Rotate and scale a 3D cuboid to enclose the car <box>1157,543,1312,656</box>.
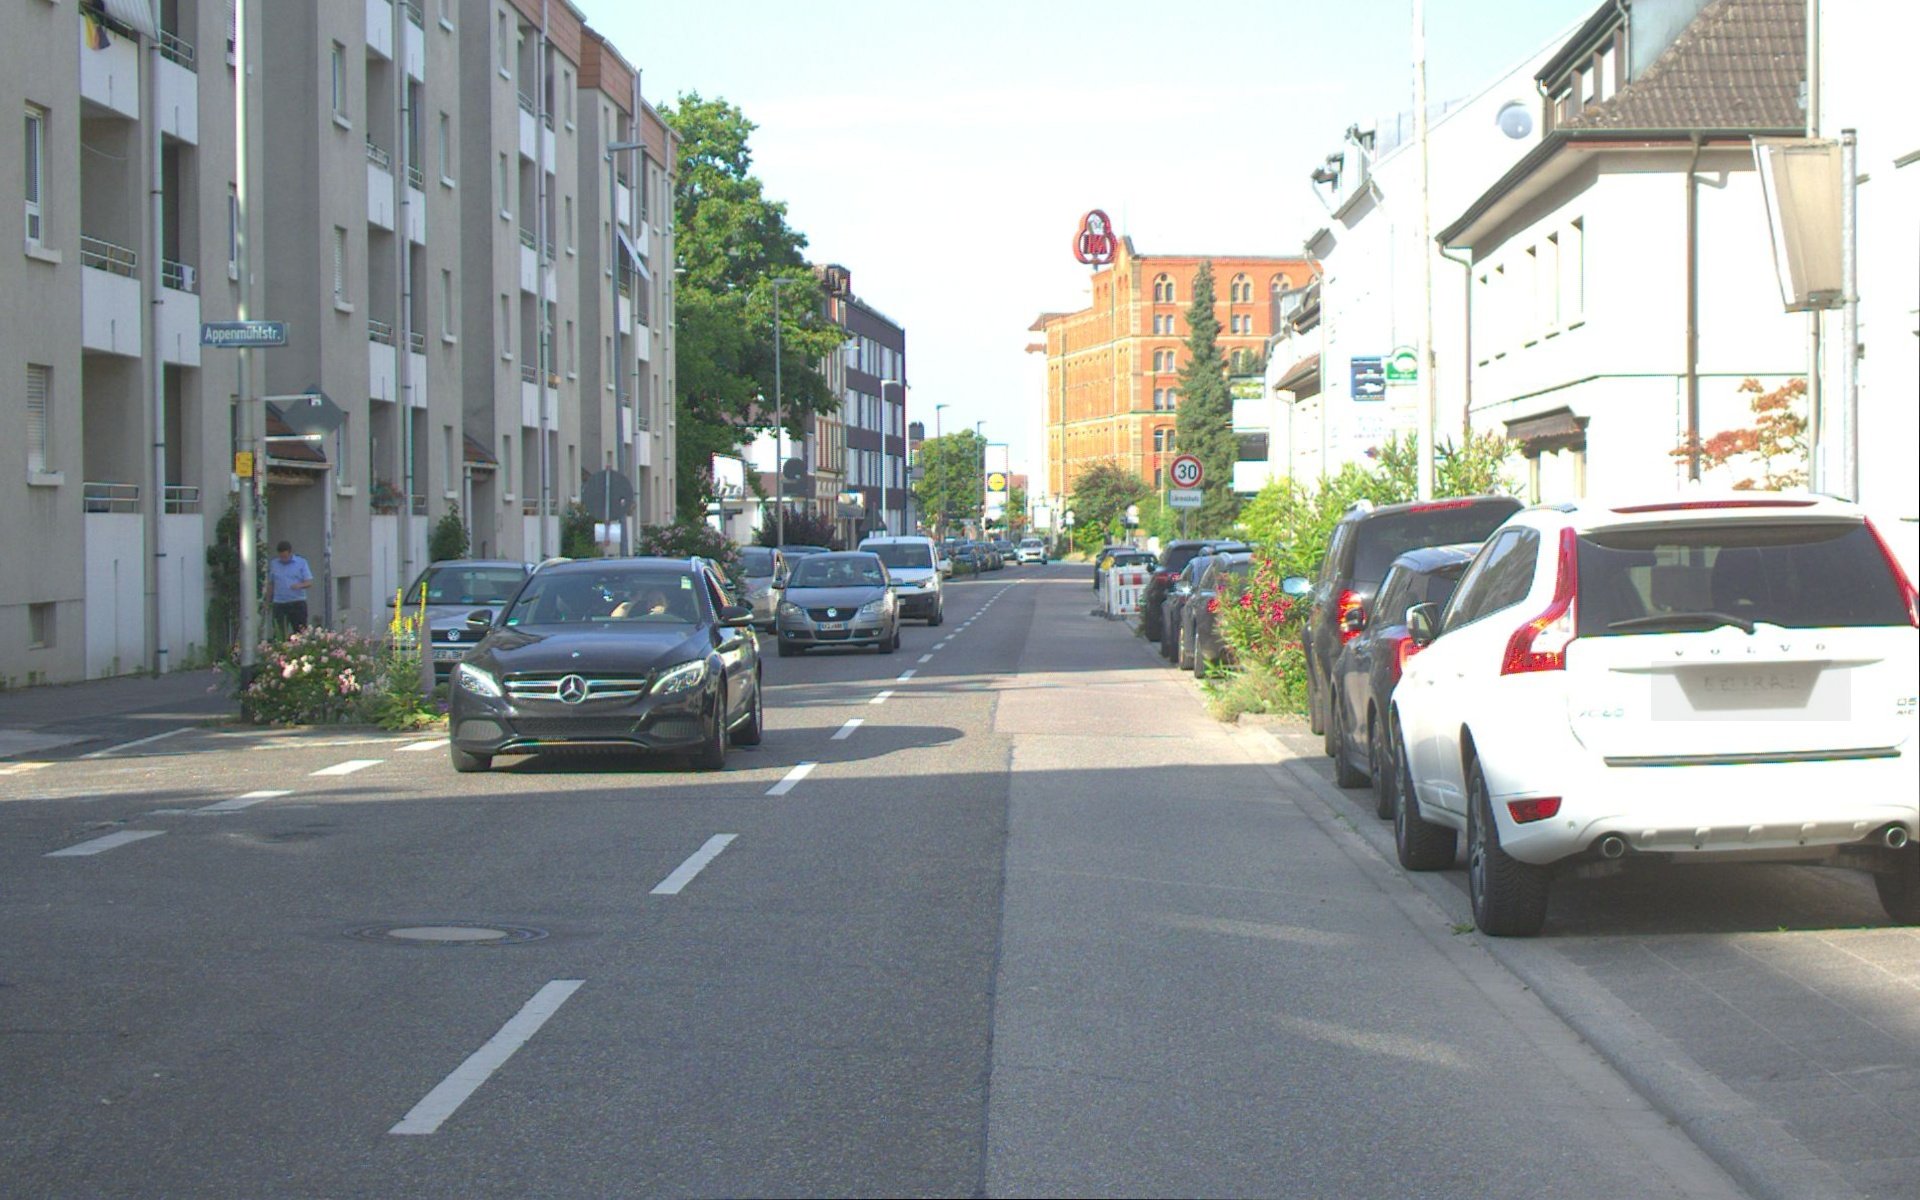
[{"bbox_3d":[3.605,-0.043,45.794,1.830,1.415,4.609,0,1,2],"label":"car"}]

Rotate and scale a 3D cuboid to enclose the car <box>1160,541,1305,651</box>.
[{"bbox_3d":[4.016,-0.094,51.250,1.830,1.555,4.317,-1,1,0],"label":"car"}]

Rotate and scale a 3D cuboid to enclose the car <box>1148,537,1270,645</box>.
[{"bbox_3d":[4.062,-0.119,56.553,1.830,1.624,4.462,2,-1,3],"label":"car"}]

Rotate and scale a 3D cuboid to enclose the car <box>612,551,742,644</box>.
[{"bbox_3d":[-4.480,-0.068,54.872,1.686,1.401,4.084,1,1,1],"label":"car"}]

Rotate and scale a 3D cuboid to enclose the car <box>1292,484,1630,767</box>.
[{"bbox_3d":[3.595,0.108,25.441,2.076,1.849,4.610,-2,2,4],"label":"car"}]

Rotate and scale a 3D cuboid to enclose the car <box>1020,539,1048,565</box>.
[{"bbox_3d":[4.717,-3.070,219.443,1.763,1.611,4.000,-1,1,2],"label":"car"}]

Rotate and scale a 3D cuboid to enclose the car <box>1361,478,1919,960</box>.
[{"bbox_3d":[2.816,0.365,14.382,1.812,1.678,4.477,-1,1,1],"label":"car"}]

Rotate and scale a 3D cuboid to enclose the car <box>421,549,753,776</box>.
[{"bbox_3d":[-2.522,0.371,24.171,1.830,1.415,4.209,-1,1,0],"label":"car"}]

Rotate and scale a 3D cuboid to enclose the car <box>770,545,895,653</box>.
[{"bbox_3d":[-1.811,-0.042,49.606,1.617,1.450,3.685,-1,1,0],"label":"car"}]

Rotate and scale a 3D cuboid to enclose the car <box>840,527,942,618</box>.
[{"bbox_3d":[-1.365,-0.574,69.348,1.922,1.761,4.338,0,1,0],"label":"car"}]

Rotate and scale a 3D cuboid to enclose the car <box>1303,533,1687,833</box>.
[{"bbox_3d":[3.017,0.408,20.223,1.589,1.523,4.614,-2,1,1],"label":"car"}]

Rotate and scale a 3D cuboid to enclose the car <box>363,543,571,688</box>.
[{"bbox_3d":[-5.128,0.123,36.166,1.640,1.390,3.672,-1,1,0],"label":"car"}]

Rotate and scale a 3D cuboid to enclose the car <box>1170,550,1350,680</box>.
[{"bbox_3d":[3.477,0.139,40.545,1.779,1.415,4.496,0,1,1],"label":"car"}]

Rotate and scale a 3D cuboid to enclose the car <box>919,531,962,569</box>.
[{"bbox_3d":[-0.952,-2.502,170.743,1.993,1.875,4.000,0,1,2],"label":"car"}]

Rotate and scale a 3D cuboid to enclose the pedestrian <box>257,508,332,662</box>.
[{"bbox_3d":[-7.922,-0.190,40.944,0.718,1.812,0.745,1,1,2],"label":"pedestrian"}]

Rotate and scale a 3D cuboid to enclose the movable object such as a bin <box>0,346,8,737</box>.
[{"bbox_3d":[-8.510,-0.413,25.728,1.647,3.127,3.900,0,1,0],"label":"movable object such as a bin"}]
